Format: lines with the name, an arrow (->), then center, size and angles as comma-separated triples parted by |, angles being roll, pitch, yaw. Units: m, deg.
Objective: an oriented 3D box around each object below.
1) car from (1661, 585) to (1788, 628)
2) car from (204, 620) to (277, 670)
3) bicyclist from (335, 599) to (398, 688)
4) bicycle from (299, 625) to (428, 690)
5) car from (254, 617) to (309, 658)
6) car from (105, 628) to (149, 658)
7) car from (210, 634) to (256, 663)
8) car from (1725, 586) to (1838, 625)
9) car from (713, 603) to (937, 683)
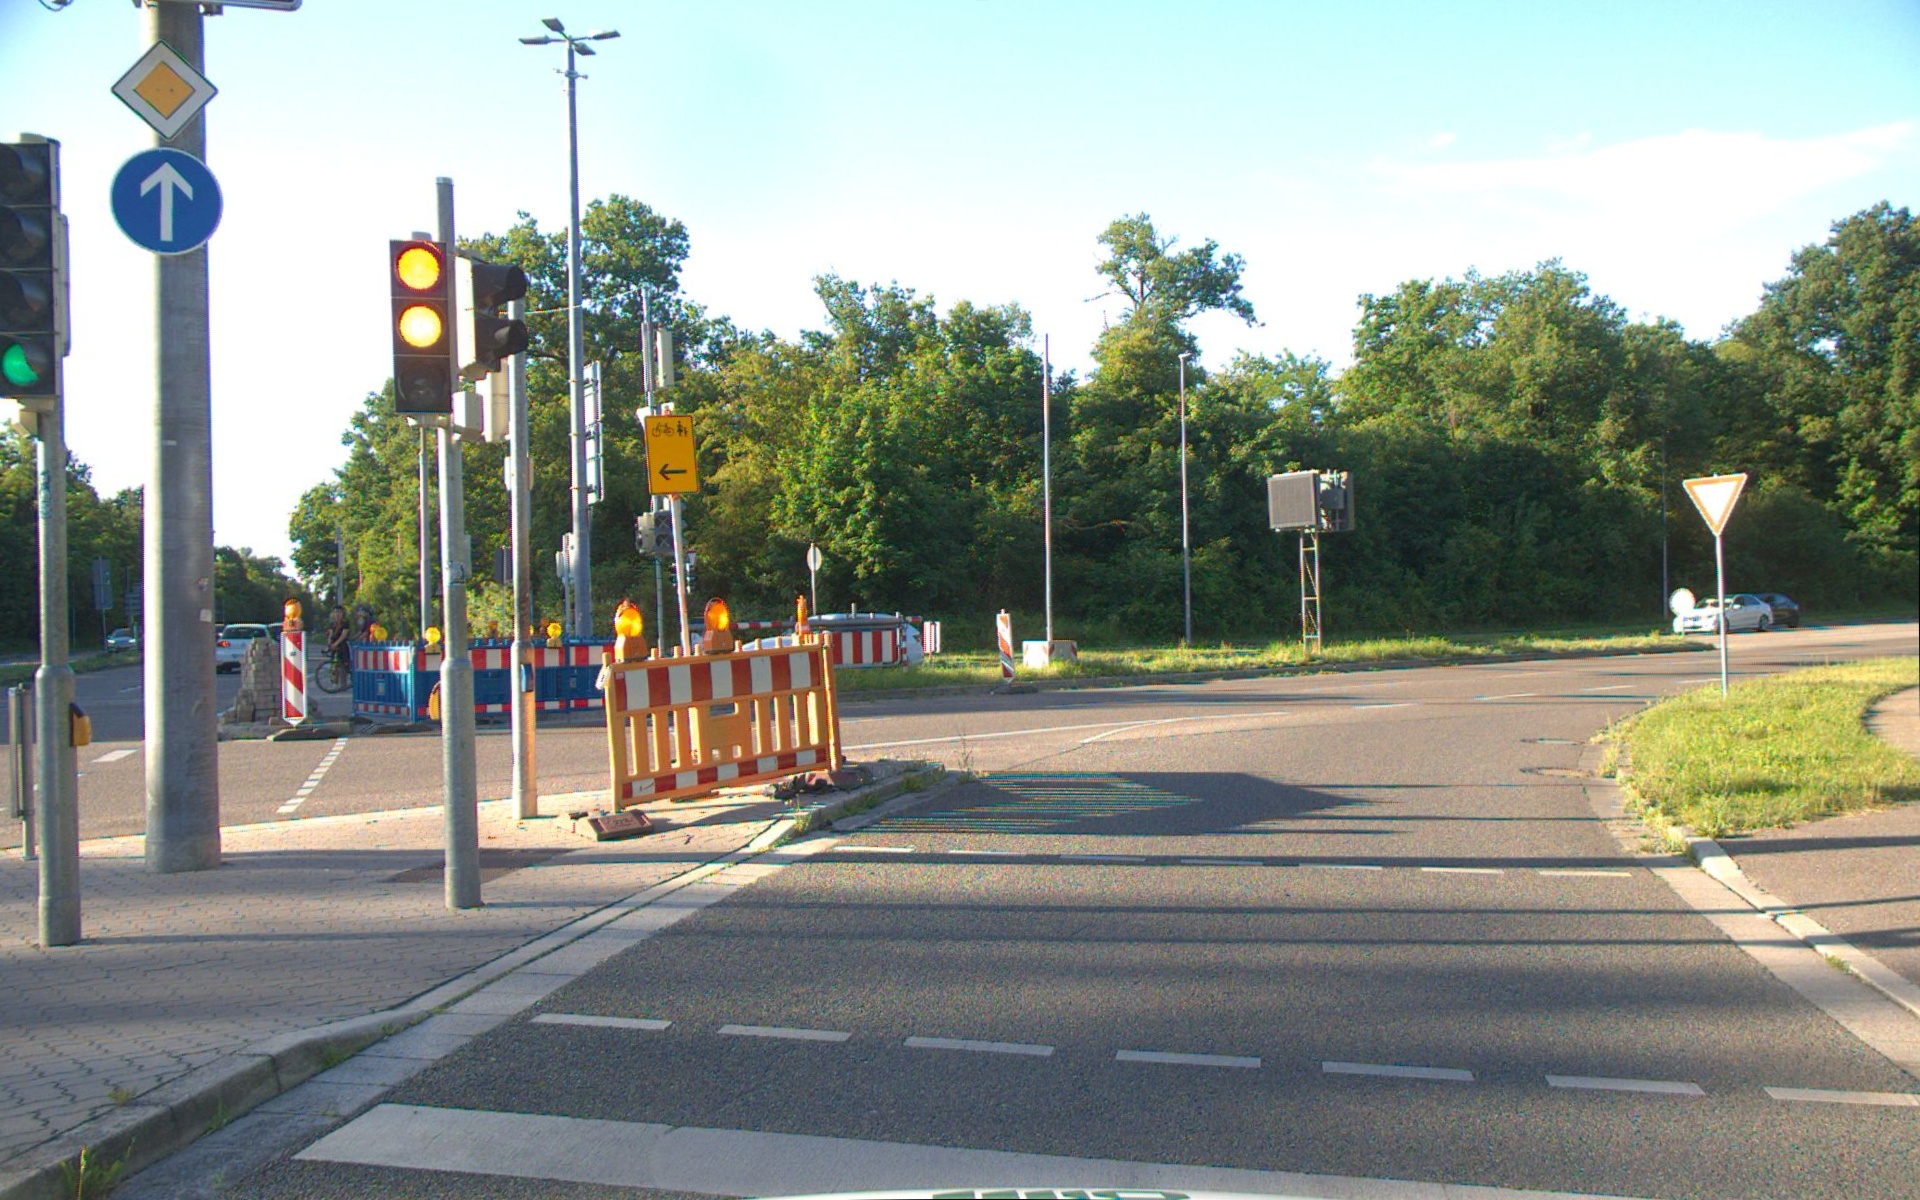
car -> 28.048, 0.235, 60.640 | 4.747, 1.461, 1.977 | -1, 0, -33
car -> -22.426, 1.386, 51.657 | 1.913, 1.439, 3.974 | -2, 0, -22
bicyclist -> -13.429, 0.975, 37.408 | 0.950, 1.963, 1.011 | -1, -1, 40
bicycle -> -13.452, 1.272, 37.361 | 0.950, 1.407, 2.626 | -1, -1, 40
car -> -27.727, 1.533, 67.695 | 1.966, 1.563, 3.974 | -2, 0, -22
car -> -54.899, 2.810, 109.070 | 1.964, 1.820, 4.225 | -1, 0, -19
car -> -39.208, 2.619, 89.213 | 1.834, 1.469, 3.980 | -1, -1, -18
car -> 33.501, 0.223, 67.414 | 4.746, 1.461, 1.978 | -1, 0, -33
car -> -2.991, 0.932, 37.387 | 4.787, 1.608, 1.971 | -1, -1, -40
